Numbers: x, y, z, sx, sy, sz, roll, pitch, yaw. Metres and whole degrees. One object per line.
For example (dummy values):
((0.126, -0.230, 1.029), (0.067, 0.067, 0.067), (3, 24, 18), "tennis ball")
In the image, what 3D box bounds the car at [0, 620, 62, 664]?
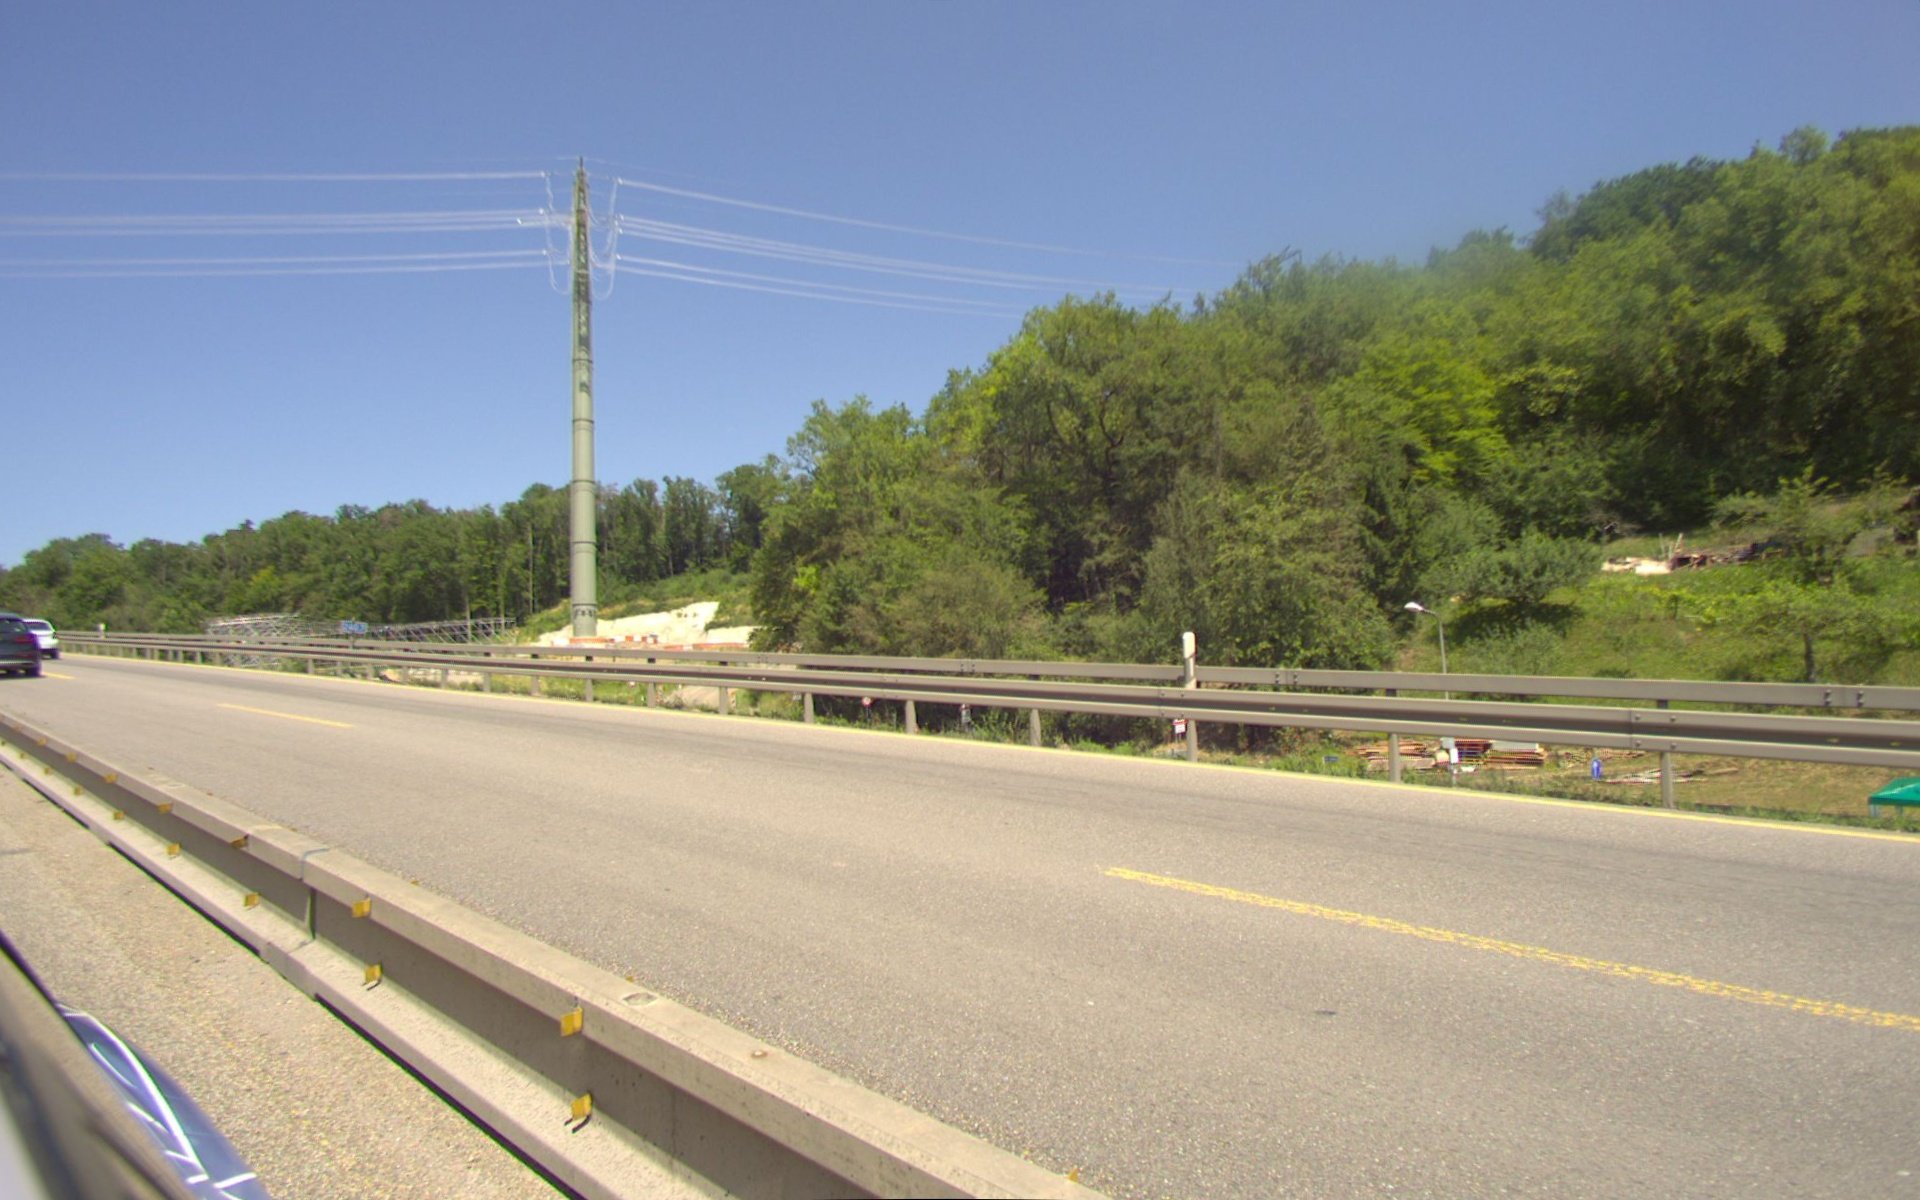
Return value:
((-34.093, 1.493, 36.728), (3.997, 1.504, 1.682), (-1, -1, 40), "car")

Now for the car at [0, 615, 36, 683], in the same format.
((-24.866, 1.201, 25.426), (4.525, 1.608, 1.897), (-1, -1, 41), "car")
